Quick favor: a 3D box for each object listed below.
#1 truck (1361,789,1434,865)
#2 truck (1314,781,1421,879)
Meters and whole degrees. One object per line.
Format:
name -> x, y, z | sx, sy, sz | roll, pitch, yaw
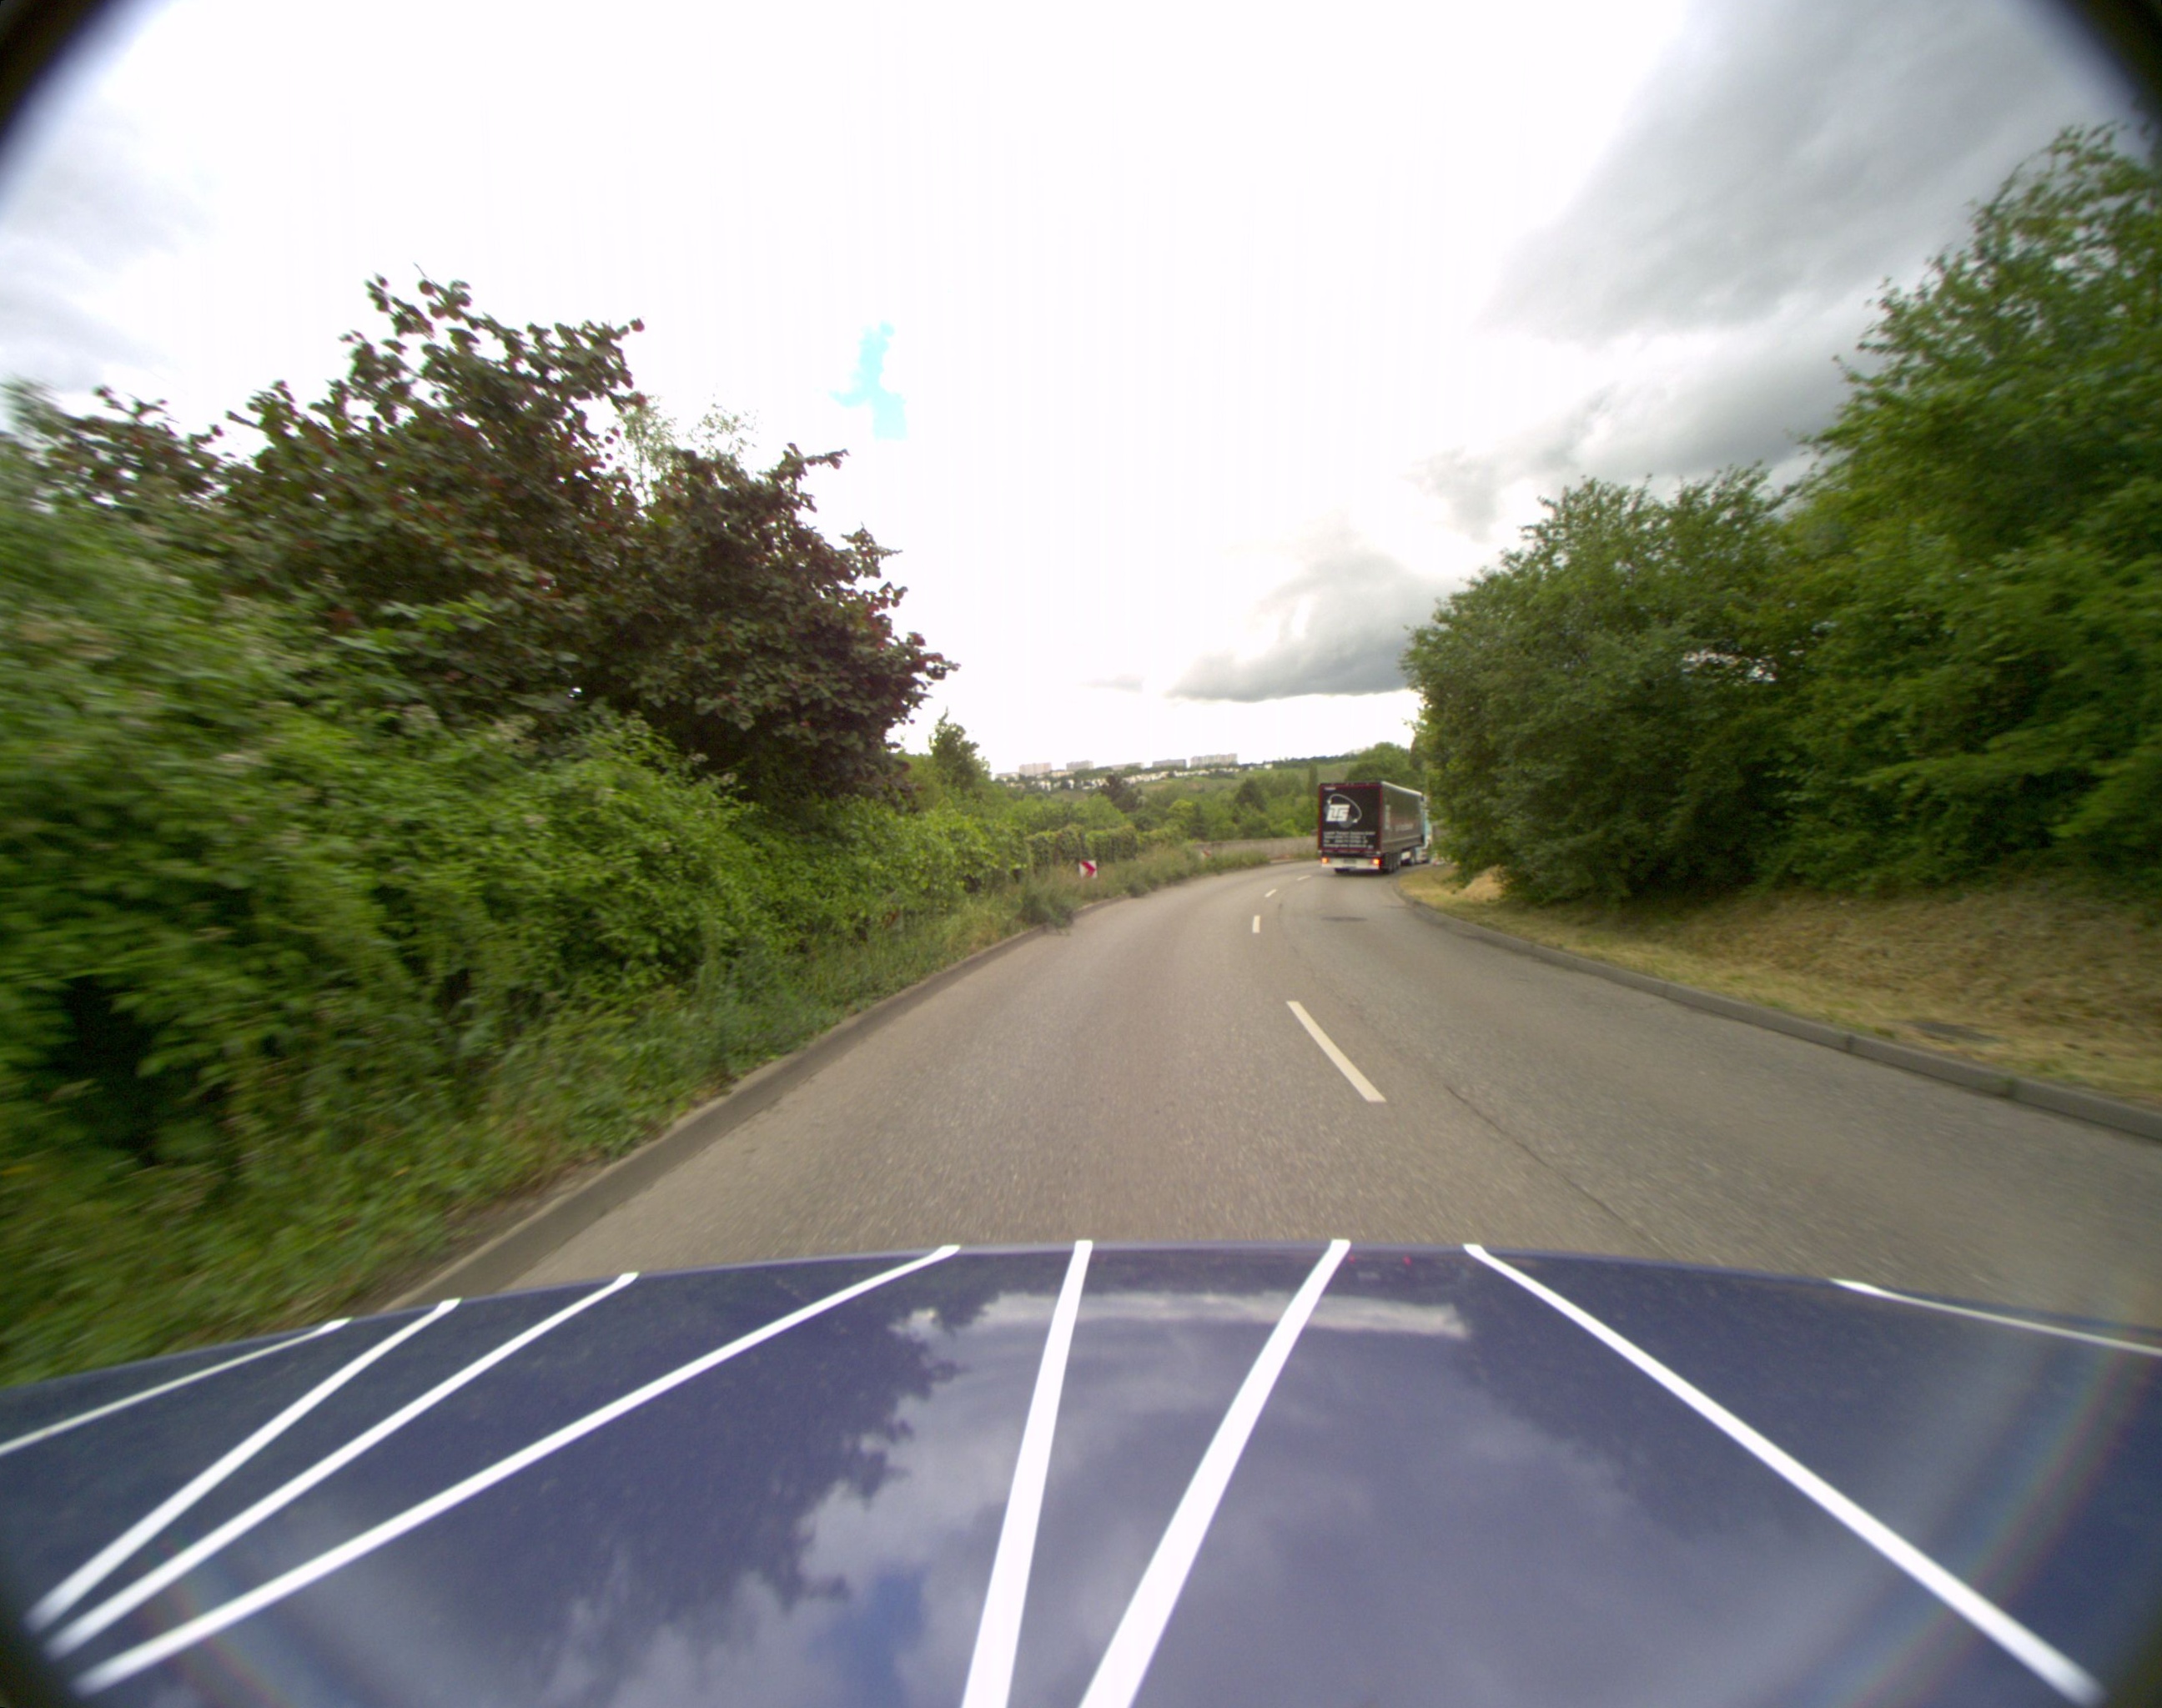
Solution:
truck -> 17.925, -1.574, 42.850 | 2.705, 3.929, 6.340 | 2, 4, 32
truck -> 14.393, -1.303, 37.176 | 2.705, 3.929, 13.856 | 2, 4, 29
